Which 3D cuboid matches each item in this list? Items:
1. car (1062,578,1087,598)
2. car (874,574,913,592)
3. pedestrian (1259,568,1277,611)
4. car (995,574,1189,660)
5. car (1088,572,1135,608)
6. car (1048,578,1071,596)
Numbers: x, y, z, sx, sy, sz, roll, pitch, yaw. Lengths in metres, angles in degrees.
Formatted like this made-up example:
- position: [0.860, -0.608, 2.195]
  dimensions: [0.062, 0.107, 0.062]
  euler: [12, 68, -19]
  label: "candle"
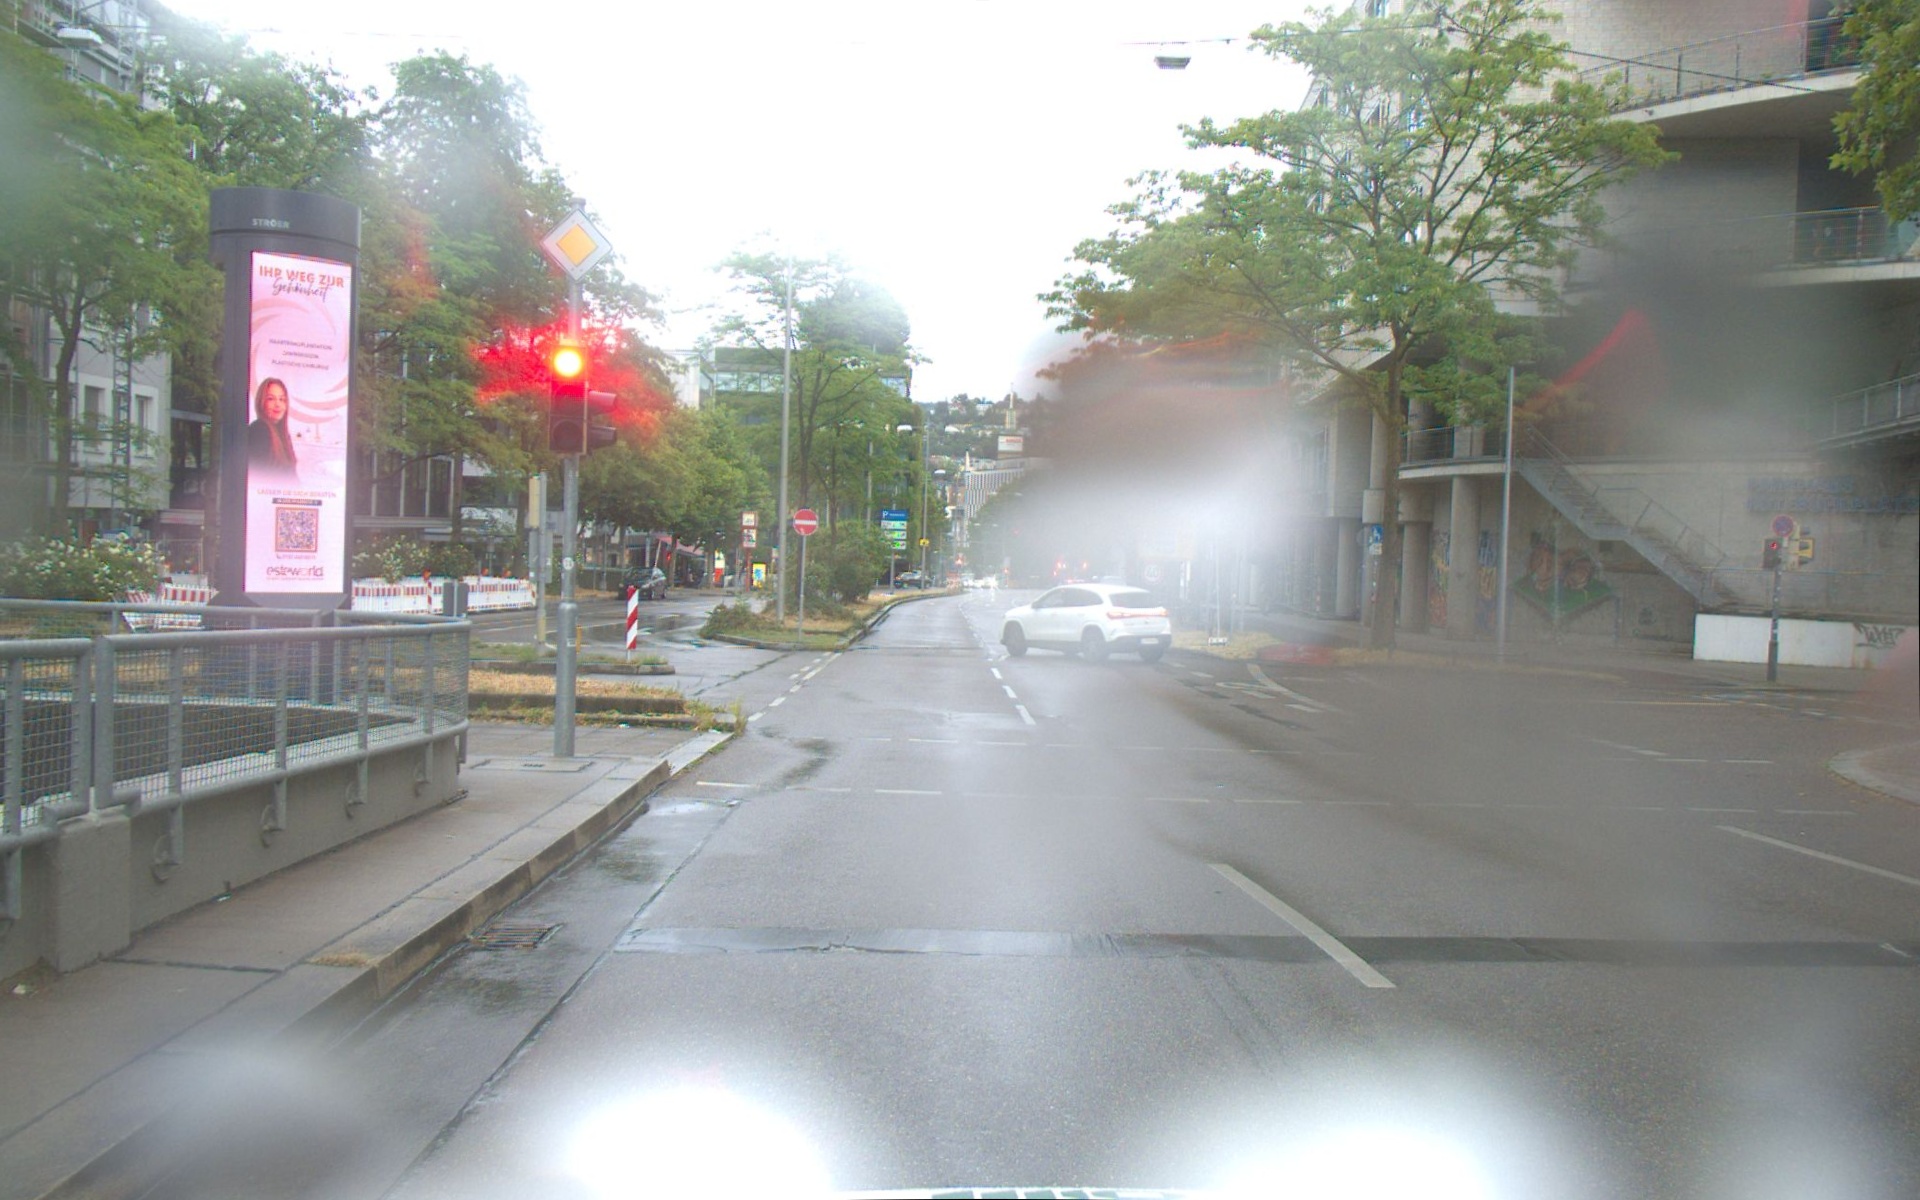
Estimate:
- position: [10.446, -1.058, 151.036]
  dimensions: [1.953, 1.754, 3.999]
  euler: [1, 0, -2]
  label: "car"
- position: [-7.497, -1.928, 186.028]
  dimensions: [3.930, 1.789, 1.988]
  euler: [2, 0, -21]
  label: "car"
- position: [14.004, -0.482, 75.260]
  dimensions: [0.759, 1.954, 0.703]
  euler: [1, -1, 9]
  label: "pedestrian"
- position: [2.803, 0.342, 35.919]
  dimensions: [1.815, 1.668, 4.244]
  euler: [2, 0, -37]
  label: "car"
- position: [7.669, -0.518, 83.540]
  dimensions: [2.288, 1.720, 4.003]
  euler: [1, 1, 6]
  label: "car"
- position: [10.036, -1.304, 166.964]
  dimensions: [1.953, 1.766, 3.999]
  euler: [1, 0, -1]
  label: "car"
